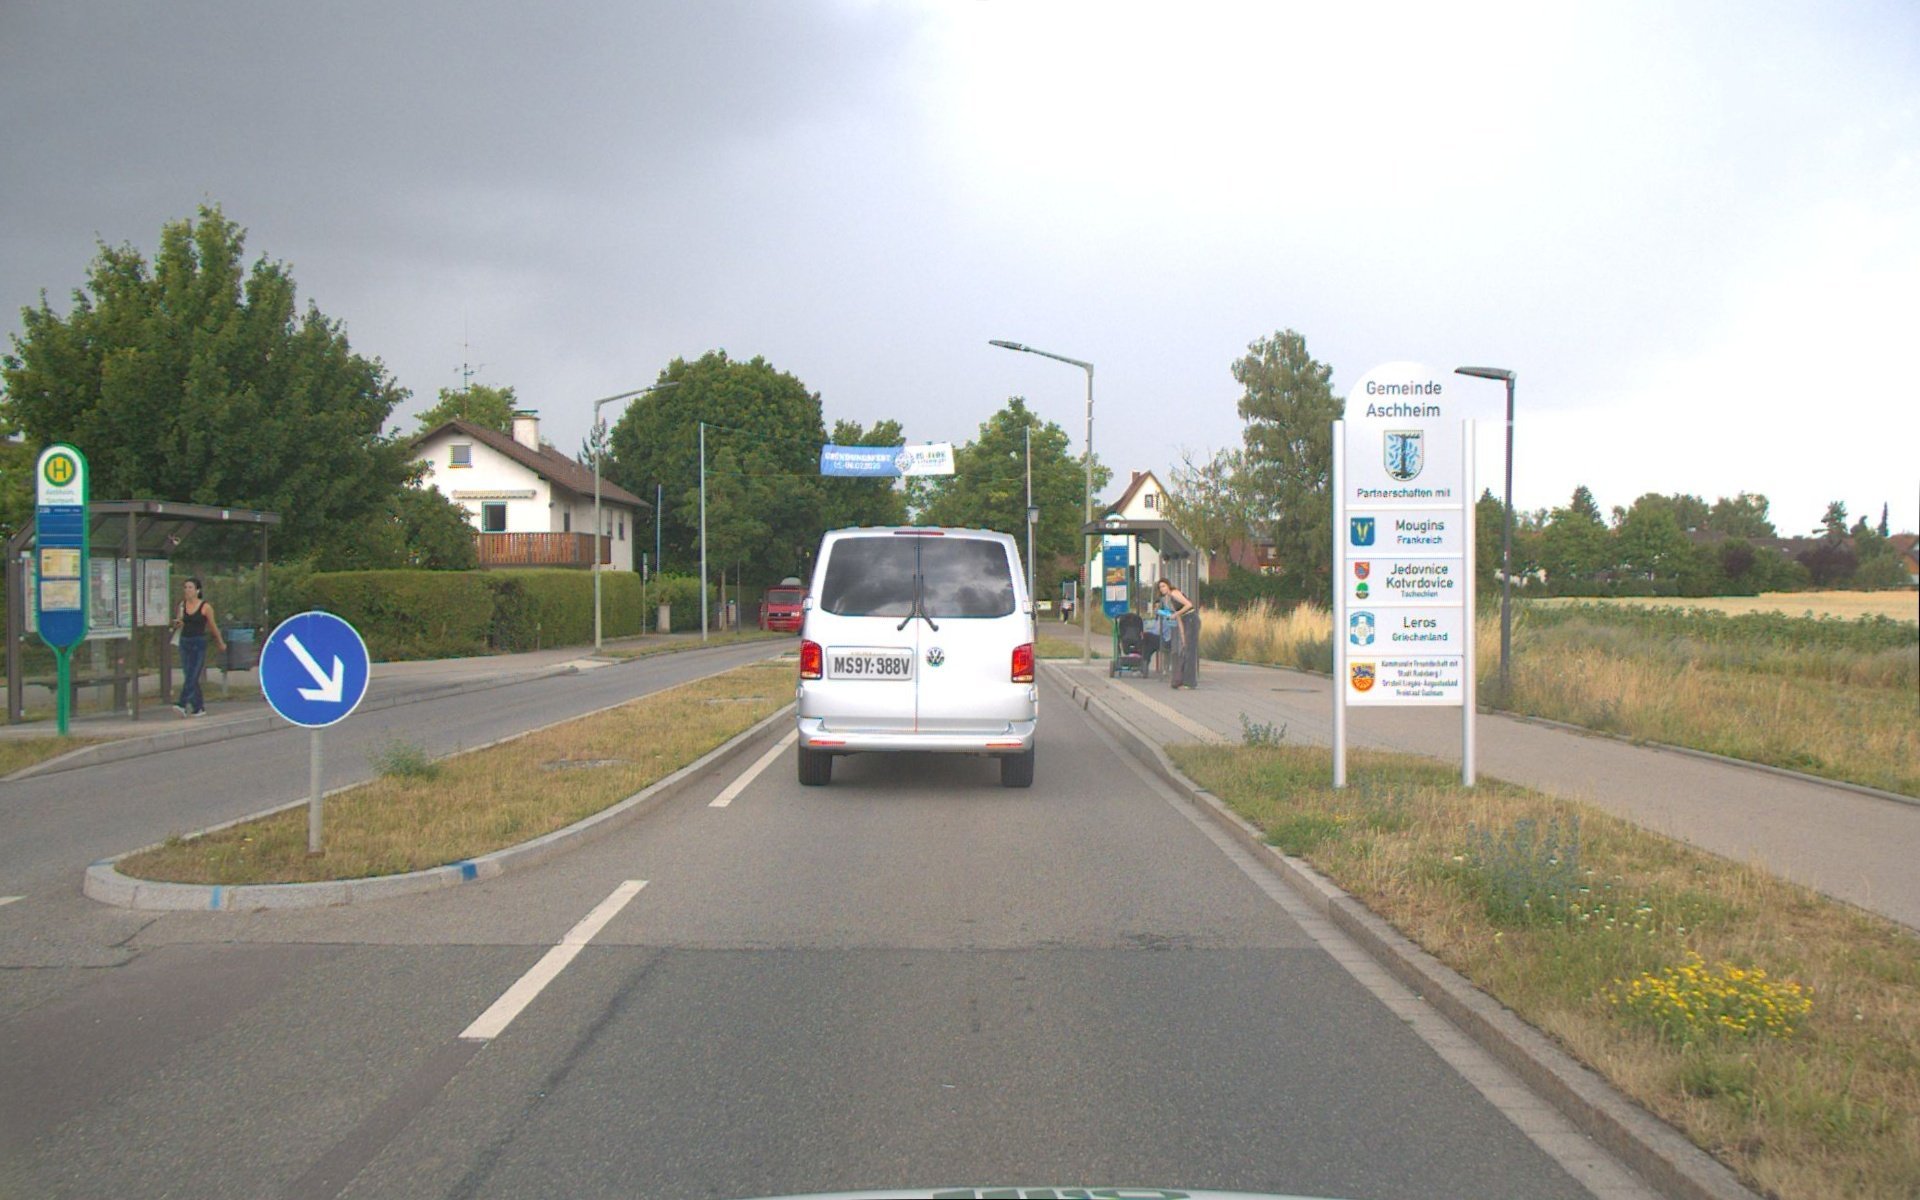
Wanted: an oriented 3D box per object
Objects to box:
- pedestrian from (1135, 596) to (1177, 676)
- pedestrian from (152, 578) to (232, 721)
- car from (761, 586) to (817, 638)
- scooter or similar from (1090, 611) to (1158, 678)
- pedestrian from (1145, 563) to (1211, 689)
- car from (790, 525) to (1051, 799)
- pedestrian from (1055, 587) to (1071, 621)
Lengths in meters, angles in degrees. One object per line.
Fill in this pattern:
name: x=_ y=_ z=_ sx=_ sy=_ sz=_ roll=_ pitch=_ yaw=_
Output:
pedestrian: x=3.344 y=0.611 z=28.196 sx=0.650 sy=1.325 sz=0.505 roll=2 pitch=-1 yaw=8
pedestrian: x=-9.161 y=0.577 z=19.761 sx=0.576 sy=1.665 sz=0.812 roll=0 pitch=0 yaw=-1
car: x=-7.174 y=0.472 z=69.759 sx=1.792 sy=2.066 sz=5.046 roll=1 pitch=0 yaw=0
scooter or similar: x=2.763 y=0.742 z=27.768 sx=0.694 sy=1.080 sz=1.056 roll=1 pitch=-1 yaw=36
pedestrian: x=3.255 y=0.382 z=24.658 sx=0.765 sy=1.824 sz=0.779 roll=1 pitch=-1 yaw=20
car: x=-0.316 y=0.455 z=13.841 sx=1.849 sy=1.945 sz=3.999 roll=1 pitch=0 yaw=-1
pedestrian: x=5.561 y=0.205 z=89.071 sx=0.820 sy=1.785 sz=0.870 roll=0 pitch=0 yaw=4
